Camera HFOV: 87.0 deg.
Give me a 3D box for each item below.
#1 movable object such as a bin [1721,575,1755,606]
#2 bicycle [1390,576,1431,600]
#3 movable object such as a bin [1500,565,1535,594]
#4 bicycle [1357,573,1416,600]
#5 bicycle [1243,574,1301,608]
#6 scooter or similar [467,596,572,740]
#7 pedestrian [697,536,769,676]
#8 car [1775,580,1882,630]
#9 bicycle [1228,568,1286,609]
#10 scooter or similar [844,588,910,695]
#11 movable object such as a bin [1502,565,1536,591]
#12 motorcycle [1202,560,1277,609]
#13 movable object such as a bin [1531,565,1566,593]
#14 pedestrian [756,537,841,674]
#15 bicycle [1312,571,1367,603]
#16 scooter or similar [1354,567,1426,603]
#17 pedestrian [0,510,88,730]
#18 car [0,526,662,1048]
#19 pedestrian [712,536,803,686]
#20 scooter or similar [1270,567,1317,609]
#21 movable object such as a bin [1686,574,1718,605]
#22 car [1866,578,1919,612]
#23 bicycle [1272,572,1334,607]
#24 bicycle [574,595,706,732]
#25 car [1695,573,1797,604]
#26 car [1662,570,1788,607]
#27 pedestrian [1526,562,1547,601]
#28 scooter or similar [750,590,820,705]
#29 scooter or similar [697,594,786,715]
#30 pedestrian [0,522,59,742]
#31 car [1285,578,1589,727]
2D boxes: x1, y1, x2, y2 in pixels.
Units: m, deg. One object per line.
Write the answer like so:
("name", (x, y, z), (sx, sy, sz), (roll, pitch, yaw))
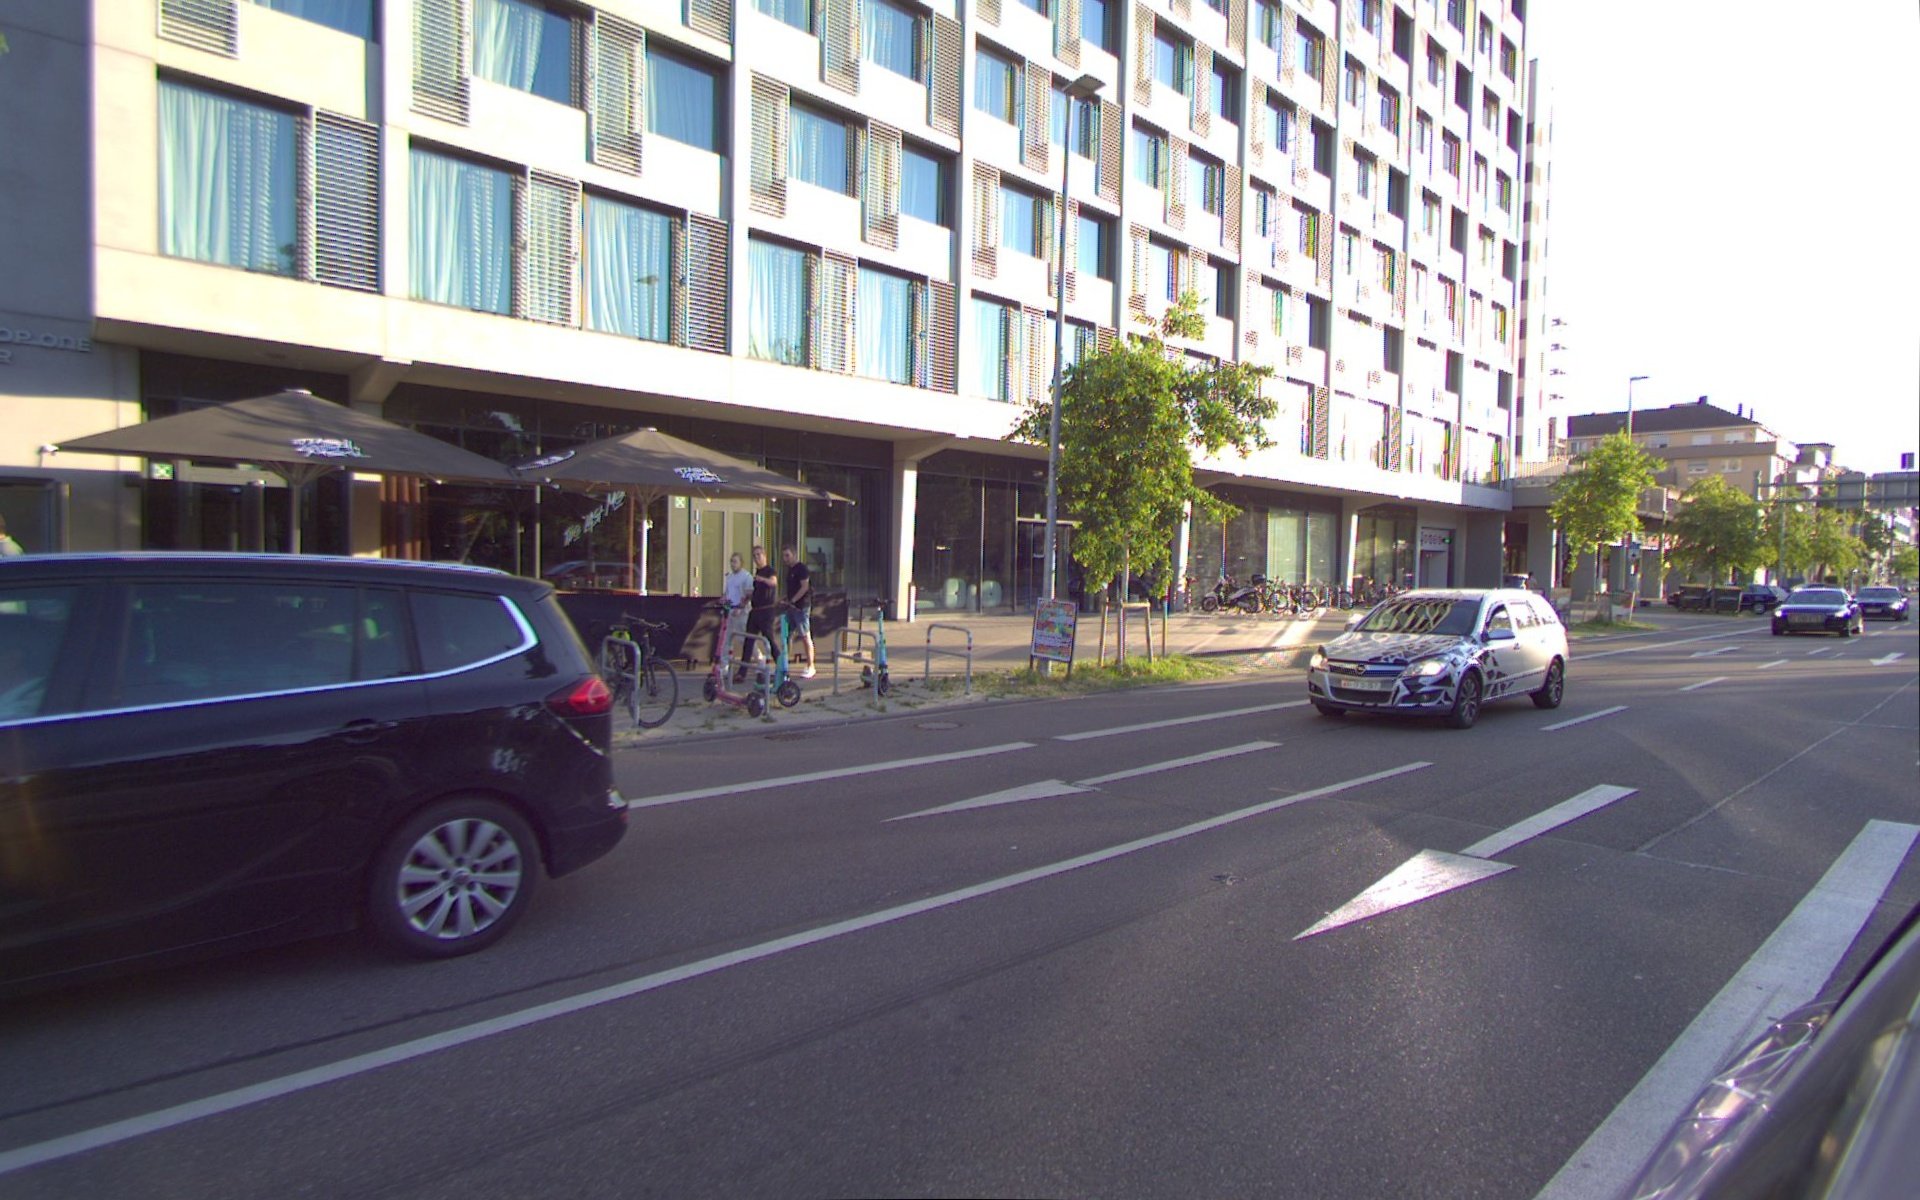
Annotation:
("movable object such as a bin", (35.967, -0.446, 46.763), (1.084, 1.317, 1.341), (5, 4, 41))
("bicycle", (17.934, -0.492, 40.303), (0.449, 0.902, 1.423), (0, 3, -43))
("movable object such as a bin", (27.068, -1.011, 49.116), (1.262, 1.345, 1.106), (-1, 4, -43))
("bicycle", (16.661, -0.542, 39.589), (2.015, 0.969, 0.611), (4, 4, 42))
("bicycle", (10.046, -0.304, 32.606), (0.542, 0.998, 1.701), (0, 4, -45))
("scooter or similar", (-4.260, 0.612, 9.748), (1.210, 1.216, 0.473), (5, 4, 43))
("pedestrian", (-3.135, 0.064, 13.945), (0.762, 1.833, 0.621), (0, 5, -33))
("car", (26.489, 0.105, 30.823), (4.202, 1.413, 1.913), (-1, 1, -41))
("bicycle", (9.394, -0.377, 32.032), (1.602, 1.168, 0.604), (5, 4, 36))
("scooter or similar", (-1.092, 0.506, 13.145), (0.524, 1.232, 1.300), (1, 4, -19))
("movable object such as a bin", (29.290, -1.145, 53.018), (1.283, 1.315, 1.183), (-1, 3, -44))
("motorcycle", (8.689, -0.488, 31.513), (2.105, 1.403, 0.664), (4, 3, 34))
("movable object such as a bin", (30.286, -1.070, 52.074), (1.246, 1.338, 1.183), (-1, 5, -44))
("pedestrian", (-2.277, 0.054, 14.239), (0.922, 1.846, 0.759), (0, 4, -33))
("bicycle", (13.403, -0.468, 35.801), (0.542, 0.998, 1.701), (0, 4, -45))
("scooter or similar", (16.083, -0.569, 37.905), (0.610, 1.197, 2.376), (0, 4, -43))
("pedestrian", (-8.506, 0.147, 9.146), (0.850, 1.911, 0.827), (-2, 5, -37))
("car", (-3.554, 0.571, 3.851), (4.290, 1.618, 1.826), (-1, 1, -41))
("pedestrian", (-2.673, 0.121, 13.341), (0.922, 1.870, 0.747), (0, 5, -33))
("scooter or similar", (10.782, -0.401, 32.724), (1.268, 1.248, 0.599), (5, 4, 44))
("movable object such as a bin", (34.986, -0.518, 47.704), (1.014, 1.363, 1.143), (6, 4, 42))
("car", (40.163, -0.231, 43.398), (1.858, 1.413, 4.210), (0, 1, 43))
("bicycle", (11.503, -0.361, 33.949), (0.556, 1.022, 1.888), (-1, 5, -44))
("bicycle", (-3.433, 0.619, 10.761), (0.598, 1.196, 1.850), (0, 5, -42))
("car", (42.933, -0.649, 55.384), (3.927, 1.433, 1.747), (3, 4, 10))
("car", (38.358, -0.591, 50.859), (4.592, 1.526, 1.936), (3, 4, 8))
("pedestrian", (25.120, -0.804, 44.094), (0.576, 1.638, 0.633), (5, 4, 44))
("scooter or similar", (-2.119, 0.541, 12.162), (0.521, 1.228, 1.134), (-1, 5, -27))
("scooter or similar", (-2.479, 0.580, 11.418), (0.501, 1.205, 1.159), (-2, 6, -40))
("pedestrian", (-8.148, 0.251, 8.480), (0.814, 1.807, 0.578), (-2, 5, -39))
("car", (5.852, 0.497, 12.191), (4.229, 1.482, 1.830), (-1, 1, -42))
